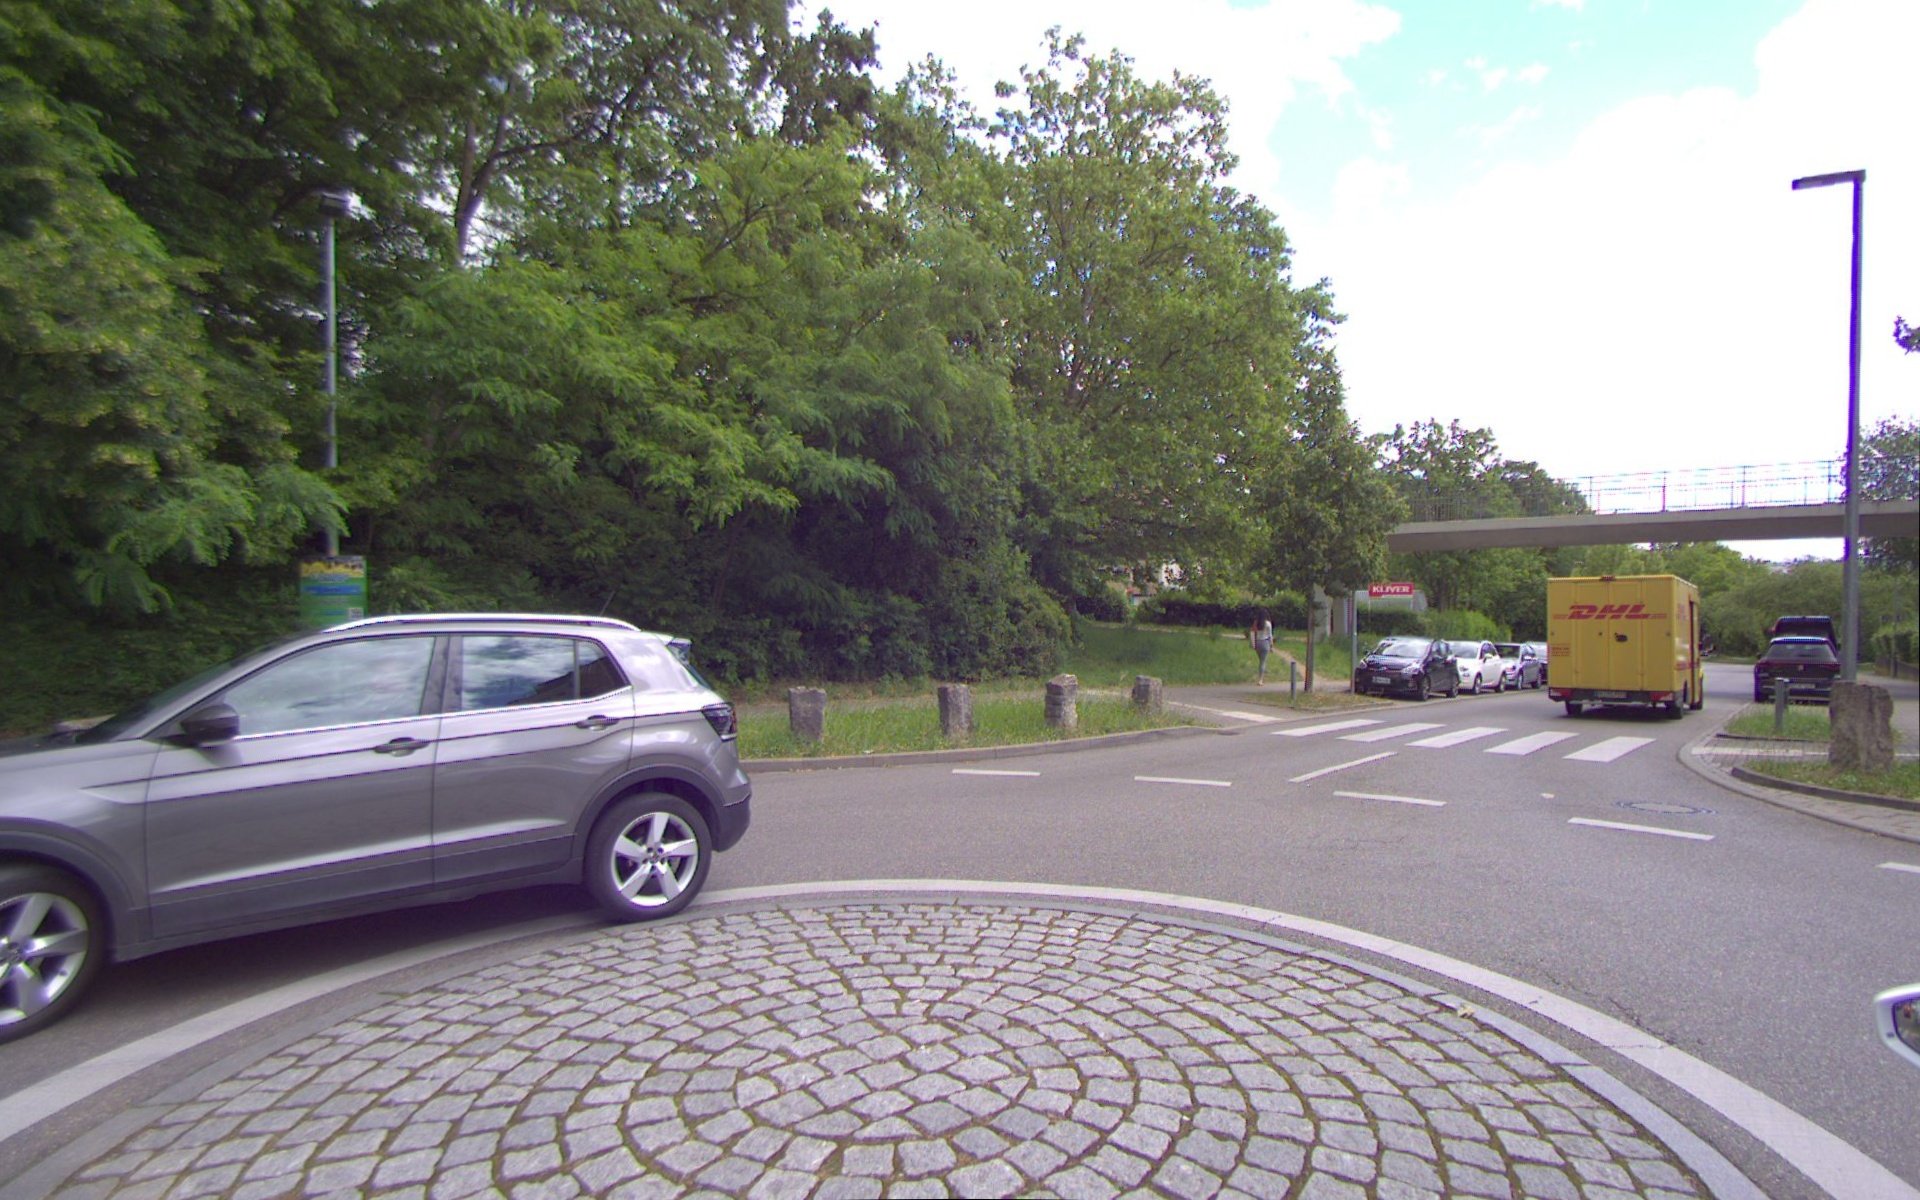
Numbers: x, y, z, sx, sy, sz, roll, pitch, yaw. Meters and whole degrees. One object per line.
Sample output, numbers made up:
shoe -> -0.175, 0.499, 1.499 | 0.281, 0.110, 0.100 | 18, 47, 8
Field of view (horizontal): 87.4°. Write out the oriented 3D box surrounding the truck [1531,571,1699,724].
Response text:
truck -> 14.149, 0.956, 21.456 | 2.435, 2.738, 6.797 | 1, -2, 38

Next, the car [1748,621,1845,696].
car -> 21.550, 1.560, 25.985 | 1.791, 1.699, 4.354 | 0, -5, 39

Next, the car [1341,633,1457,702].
car -> 11.145, 1.630, 25.339 | 1.763, 1.487, 3.984 | 2, 0, 37

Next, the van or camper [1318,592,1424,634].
van or camper -> 21.483, 0.648, 52.604 | 4.790, 2.114, 1.993 | 1, 0, 36

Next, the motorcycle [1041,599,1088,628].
motorcycle -> 4.692, 0.616, 45.073 | 2.024, 1.287, 0.878 | 1, 0, -32

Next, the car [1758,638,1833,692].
car -> 25.831, 1.977, 31.092 | 1.679, 1.516, 4.100 | -1, -3, 39

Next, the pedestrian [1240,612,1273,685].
pedestrian -> 7.233, 1.171, 24.529 | 0.724, 1.745, 0.660 | 1, 0, 15

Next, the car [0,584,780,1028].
car -> -3.094, 0.813, 5.072 | 3.968, 1.639, 1.706 | 2, -2, -34

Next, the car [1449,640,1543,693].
car -> 17.390, 2.092, 32.497 | 1.863, 1.446, 3.980 | 1, 0, 41

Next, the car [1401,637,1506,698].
car -> 14.026, 1.854, 28.471 | 1.863, 1.479, 3.529 | 1, 0, 41

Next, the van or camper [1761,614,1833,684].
van or camper -> 33.009, 1.955, 39.666 | 1.970, 2.555, 5.446 | -3, -4, 40
